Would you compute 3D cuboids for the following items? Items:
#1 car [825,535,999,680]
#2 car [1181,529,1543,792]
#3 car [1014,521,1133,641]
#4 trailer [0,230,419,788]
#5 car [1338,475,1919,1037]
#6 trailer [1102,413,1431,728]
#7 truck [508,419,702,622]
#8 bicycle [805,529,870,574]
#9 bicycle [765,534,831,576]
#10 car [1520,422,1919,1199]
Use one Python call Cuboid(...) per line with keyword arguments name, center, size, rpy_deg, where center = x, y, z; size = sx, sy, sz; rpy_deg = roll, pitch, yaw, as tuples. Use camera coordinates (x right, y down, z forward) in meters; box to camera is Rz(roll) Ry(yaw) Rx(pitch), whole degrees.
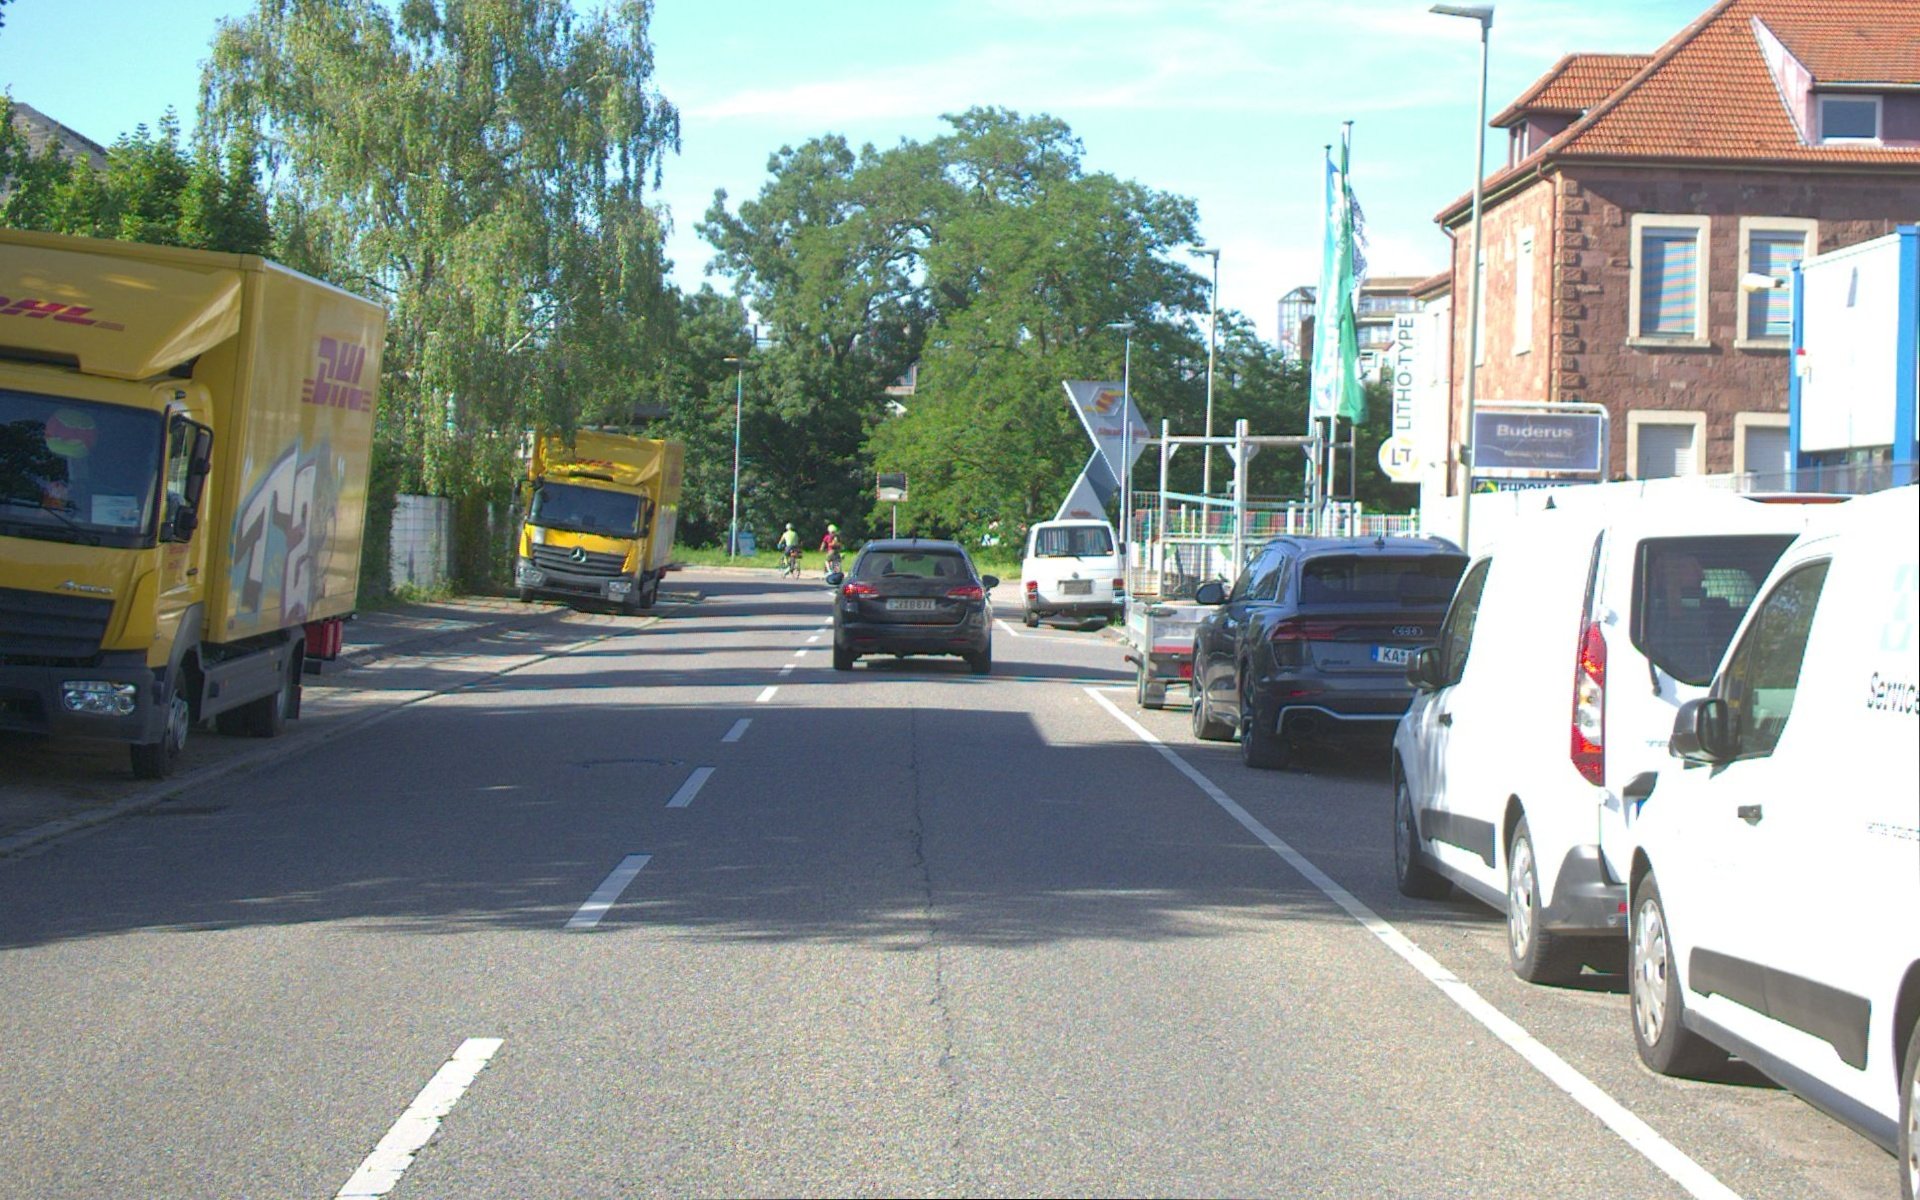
Cuboid(name="car", center=(-0.517, 0.042, 39.029), size=(1.847, 1.525, 4.000), rpy_deg=(1, 1, 0))
Cuboid(name="car", center=(2.857, 0.386, 25.516), size=(1.994, 1.661, 4.731), rpy_deg=(3, 0, -1))
Cuboid(name="car", center=(2.040, -0.350, 63.009), size=(1.874, 2.007, 5.160), rpy_deg=(3, 0, 0))
Cuboid(name="trailer", center=(-6.066, -0.638, 25.472), size=(2.991, 3.431, 8.162), rpy_deg=(2, 1, -2))
Cuboid(name="car", center=(2.850, 0.519, 14.176), size=(1.855, 1.824, 5.168), rpy_deg=(3, 0, -1))
Cuboid(name="trailer", center=(2.766, -0.292, 32.589), size=(2.460, 2.663, 5.702), rpy_deg=(2, 1, -1))
Cuboid(name="truck", center=(-7.010, -1.650, 69.058), size=(2.631, 3.493, 8.657), rpy_deg=(8, 2, -1))
Cuboid(name="bicycle", center=(-3.744, -1.485, 104.692), size=(0.803, 1.263, 2.258), rpy_deg=(3, 0, -35))
Cuboid(name="bicycle", center=(-5.091, -1.418, 108.099), size=(0.804, 1.217, 2.258), rpy_deg=(3, 1, -40))
Cuboid(name="car", center=(2.890, 0.584, 8.933), size=(1.886, 1.840, 5.104), rpy_deg=(3, 0, -1))
